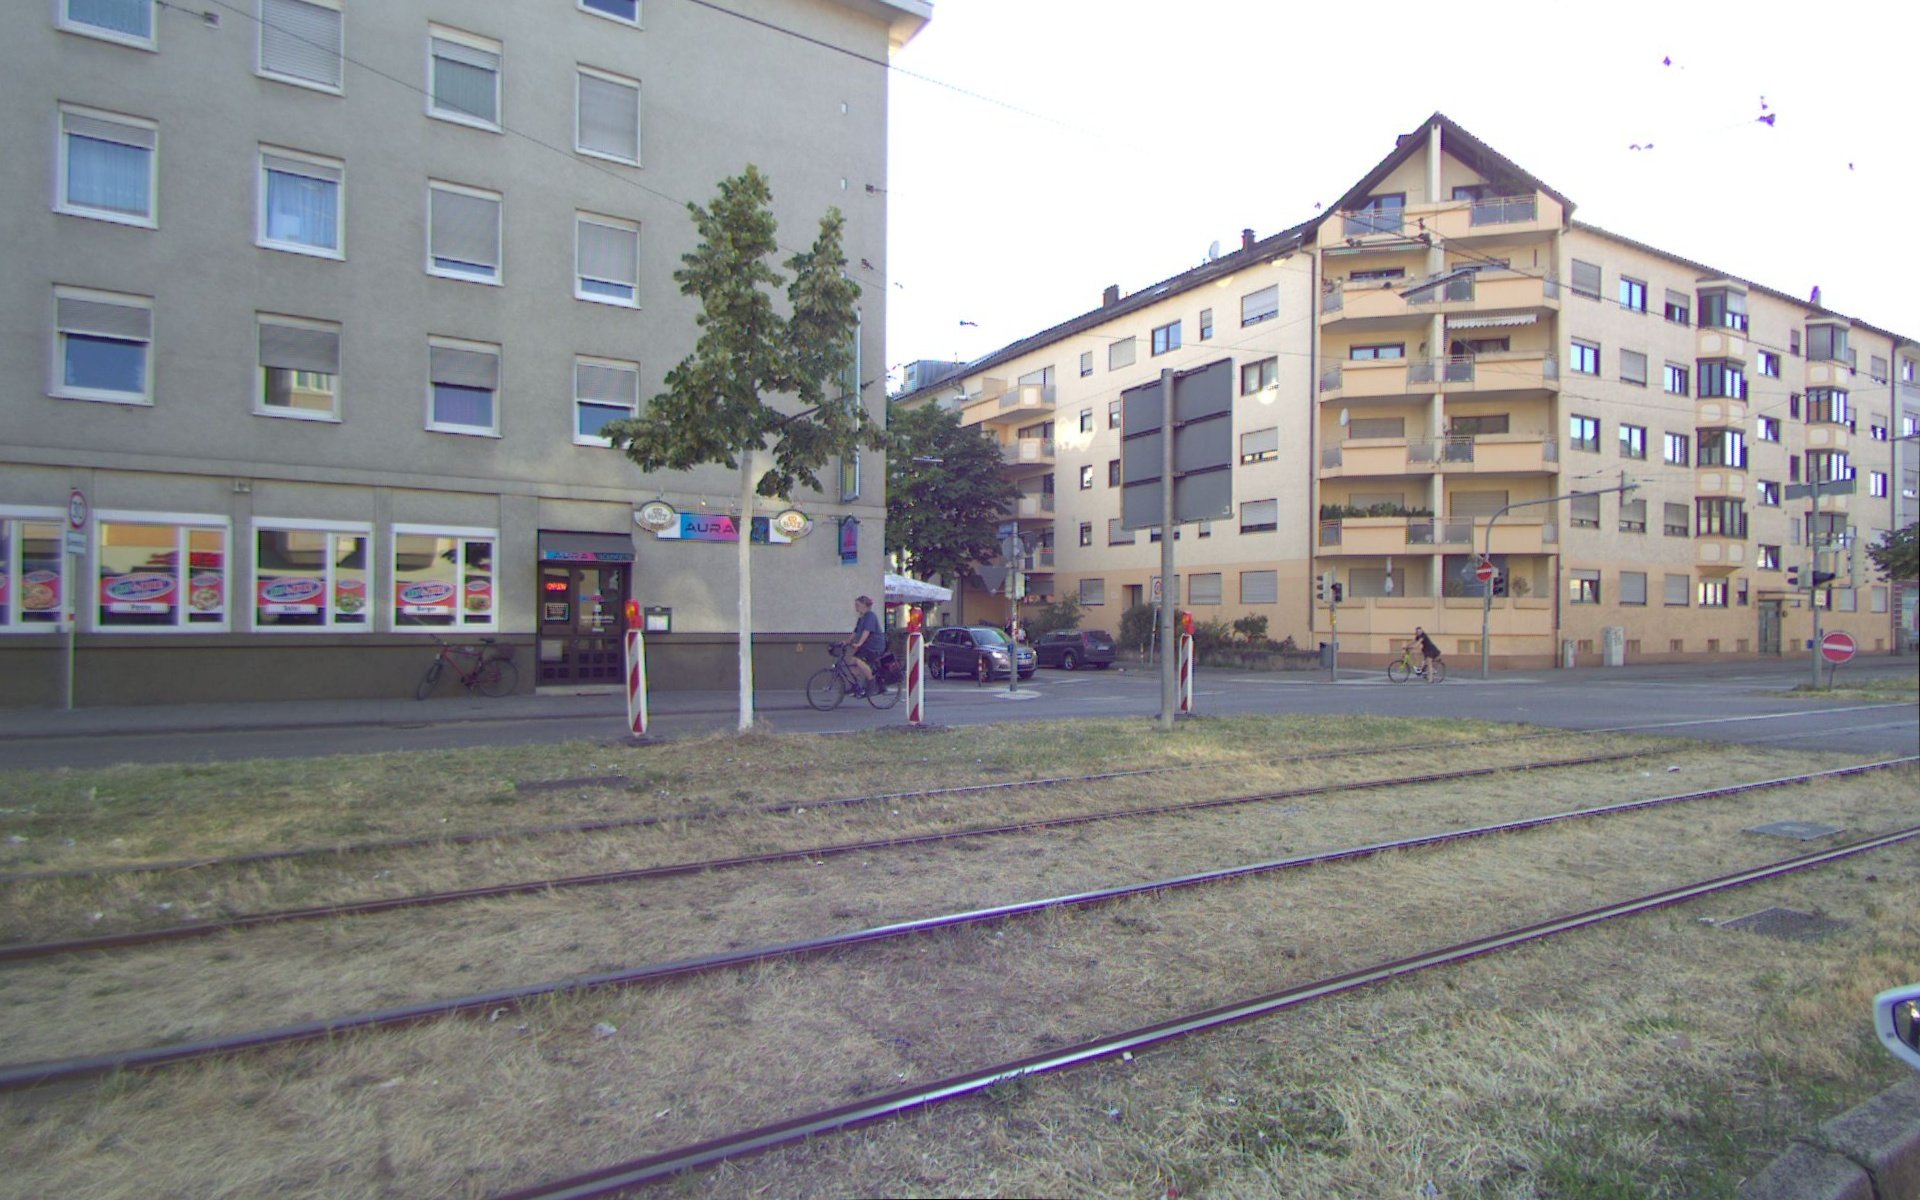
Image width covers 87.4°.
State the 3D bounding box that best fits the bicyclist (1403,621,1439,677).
[{"bbox_3d":[13.462,1.429,29.347,0.793,1.607,0.628,0,0,4],"label":"bicyclist"}]

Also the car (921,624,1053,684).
[{"bbox_3d":[0.788,1.626,31.479,1.981,1.645,4.154,-2,0,-37],"label":"car"}]

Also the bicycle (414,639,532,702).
[{"bbox_3d":[-8.593,1.232,17.760,1.823,1.037,0.605,2,0,-31],"label":"bicycle"}]

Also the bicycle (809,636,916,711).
[{"bbox_3d":[-1.726,1.282,17.830,1.843,1.274,0.454,0,0,-22],"label":"bicycle"}]

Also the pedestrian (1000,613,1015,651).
[{"bbox_3d":[2.217,1.492,46.747,0.456,1.727,0.589,2,0,-24],"label":"pedestrian"}]

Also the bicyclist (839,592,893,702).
[{"bbox_3d":[-1.670,0.818,17.858,0.797,1.907,0.650,1,-1,-21],"label":"bicyclist"}]

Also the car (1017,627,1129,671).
[{"bbox_3d":[4.172,1.780,37.623,1.982,1.462,3.957,-2,0,-38],"label":"car"}]

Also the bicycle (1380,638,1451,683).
[{"bbox_3d":[13.303,1.756,29.351,1.833,1.274,0.457,0,0,3],"label":"bicycle"}]

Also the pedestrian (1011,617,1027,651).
[{"bbox_3d":[2.758,1.598,46.899,0.509,1.573,0.547,2,0,-24],"label":"pedestrian"}]
